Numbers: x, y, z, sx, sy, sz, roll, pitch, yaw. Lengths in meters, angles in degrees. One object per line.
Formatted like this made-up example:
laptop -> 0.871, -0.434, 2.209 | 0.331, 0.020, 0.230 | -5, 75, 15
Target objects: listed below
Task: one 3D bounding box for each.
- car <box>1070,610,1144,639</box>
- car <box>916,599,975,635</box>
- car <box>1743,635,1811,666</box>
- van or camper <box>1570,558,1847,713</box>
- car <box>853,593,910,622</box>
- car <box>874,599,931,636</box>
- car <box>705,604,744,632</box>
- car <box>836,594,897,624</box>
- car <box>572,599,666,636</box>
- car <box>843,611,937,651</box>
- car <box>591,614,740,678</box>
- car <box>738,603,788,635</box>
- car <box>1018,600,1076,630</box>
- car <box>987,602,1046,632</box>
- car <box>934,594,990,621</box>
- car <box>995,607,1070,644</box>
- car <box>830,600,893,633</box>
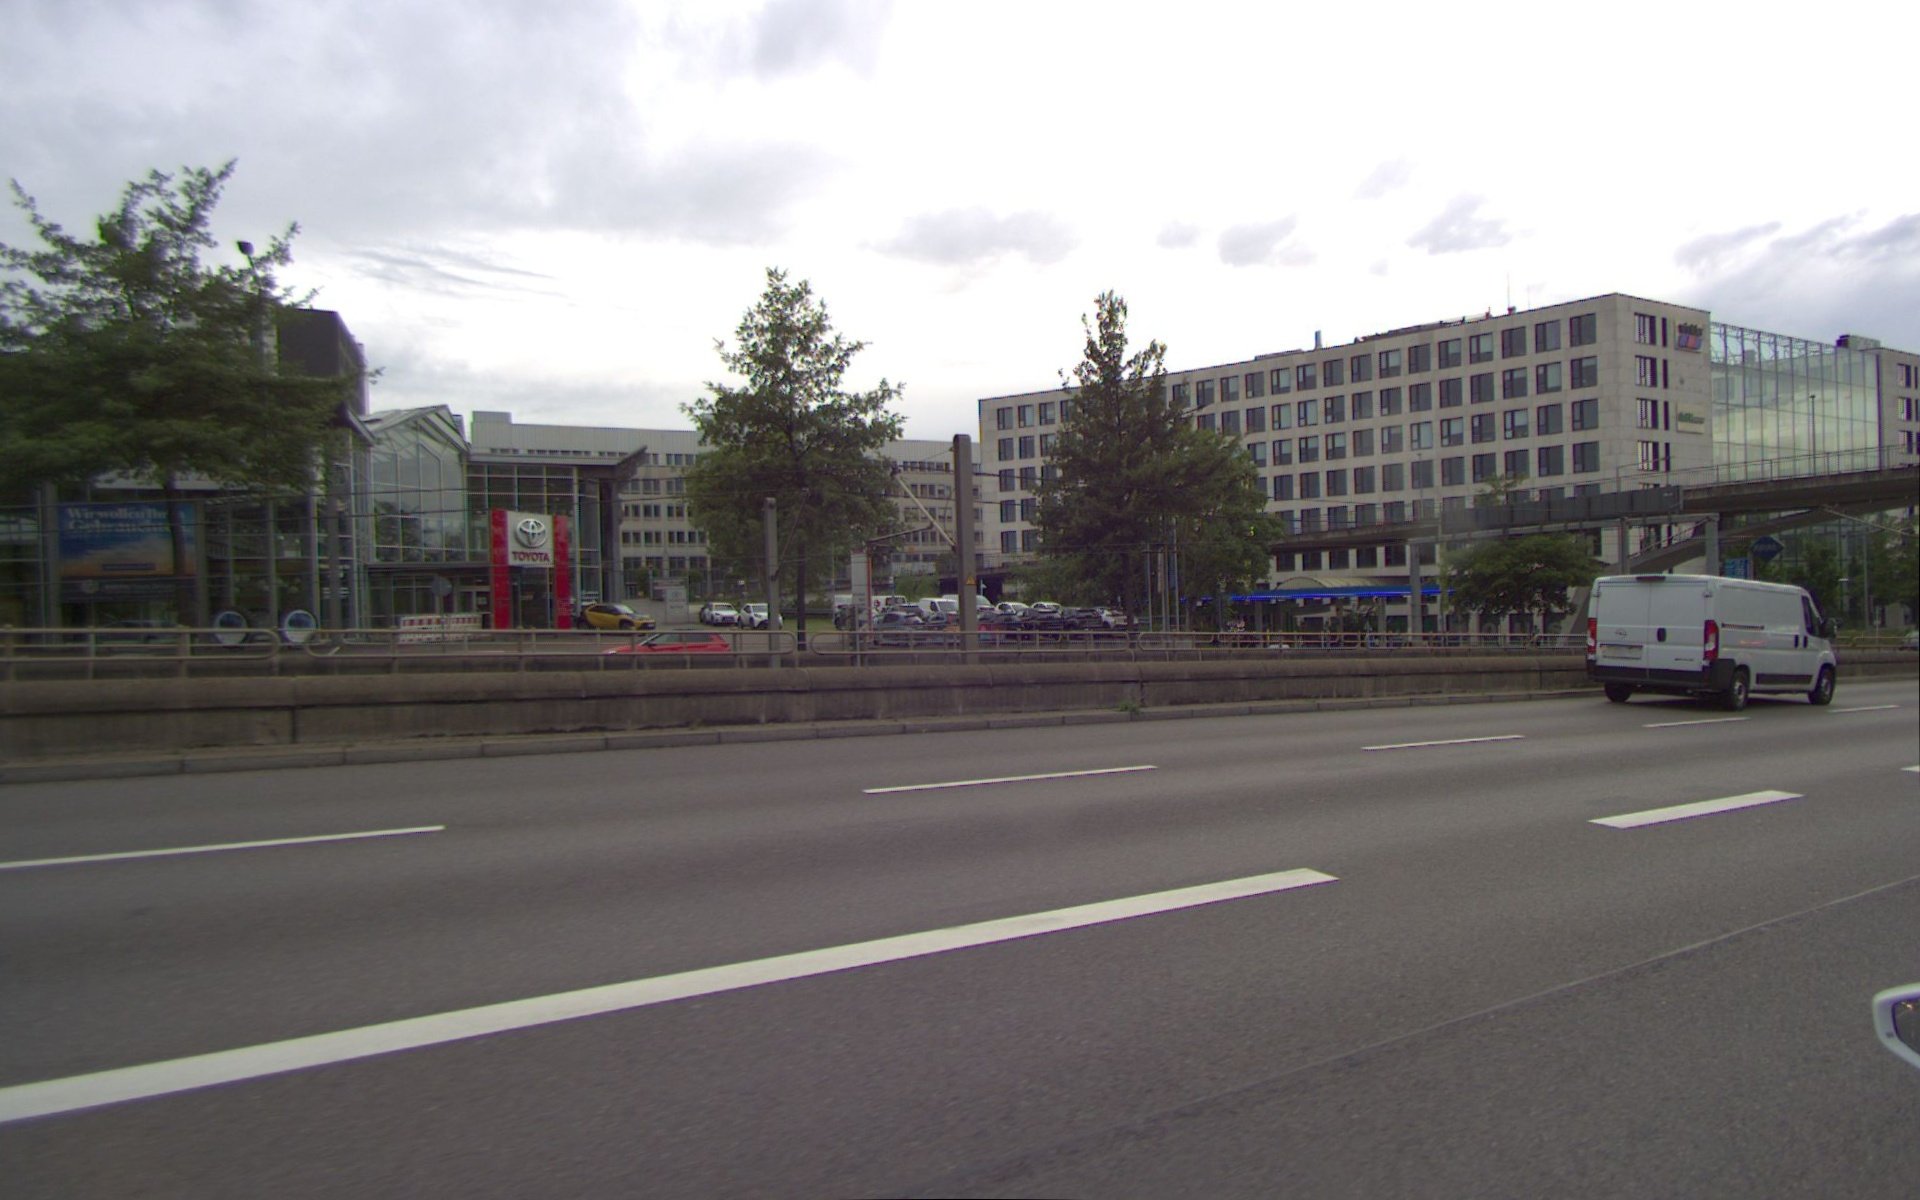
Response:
car -> 7.654, 1.259, 52.646 | 1.826, 1.372, 3.971 | 1, 1, -27
car -> -0.871, 0.954, 57.977 | 1.972, 1.901, 3.975 | -2, 2, -24
car -> 40.288, 2.452, 49.506 | 3.437, 1.439, 1.510 | 1, -1, -31
van or camper -> 13.786, 0.631, 18.411 | 5.467, 2.471, 2.192 | 1, -1, -31
car -> -4.930, 0.420, 62.451 | 1.977, 1.673, 3.965 | -2, 2, -31
car -> -3.324, 1.000, 57.540 | 1.973, 2.040, 3.976 | 1, -1, -25
car -> -15.916, 1.168, 67.762 | 1.971, 1.673, 3.977 | -2, 2, -23
car -> -6.760, 0.656, 72.775 | 3.923, 2.076, 1.999 | 0, 2, 22
car -> -16.664, 0.847, 49.140 | 3.920, 1.673, 2.000 | 0, 2, 16
car -> -3.272, 1.425, 46.767 | 3.929, 1.673, 1.996 | 1, 1, 31
car -> -9.116, 1.385, 31.106 | 4.057, 1.801, 1.982 | 1, 1, -32
car -> -11.390, 1.047, 57.839 | 1.972, 1.673, 3.975 | -2, 2, -24
car -> 5.394, 0.890, 62.806 | 1.972, 1.673, 3.975 | -2, 2, -24
car -> 3.424, 1.010, 61.198 | 1.972, 1.673, 3.975 | -2, 2, -24
car -> 0.099, 0.487, 66.455 | 1.801, 1.673, 3.963 | -2, 2, -33
car -> 3.570, 1.237, 50.163 | 1.975, 1.673, 3.971 | 1, 1, -28
car -> -5.515, 0.875, 56.034 | 1.977, 1.673, 3.965 | -2, 2, -31
